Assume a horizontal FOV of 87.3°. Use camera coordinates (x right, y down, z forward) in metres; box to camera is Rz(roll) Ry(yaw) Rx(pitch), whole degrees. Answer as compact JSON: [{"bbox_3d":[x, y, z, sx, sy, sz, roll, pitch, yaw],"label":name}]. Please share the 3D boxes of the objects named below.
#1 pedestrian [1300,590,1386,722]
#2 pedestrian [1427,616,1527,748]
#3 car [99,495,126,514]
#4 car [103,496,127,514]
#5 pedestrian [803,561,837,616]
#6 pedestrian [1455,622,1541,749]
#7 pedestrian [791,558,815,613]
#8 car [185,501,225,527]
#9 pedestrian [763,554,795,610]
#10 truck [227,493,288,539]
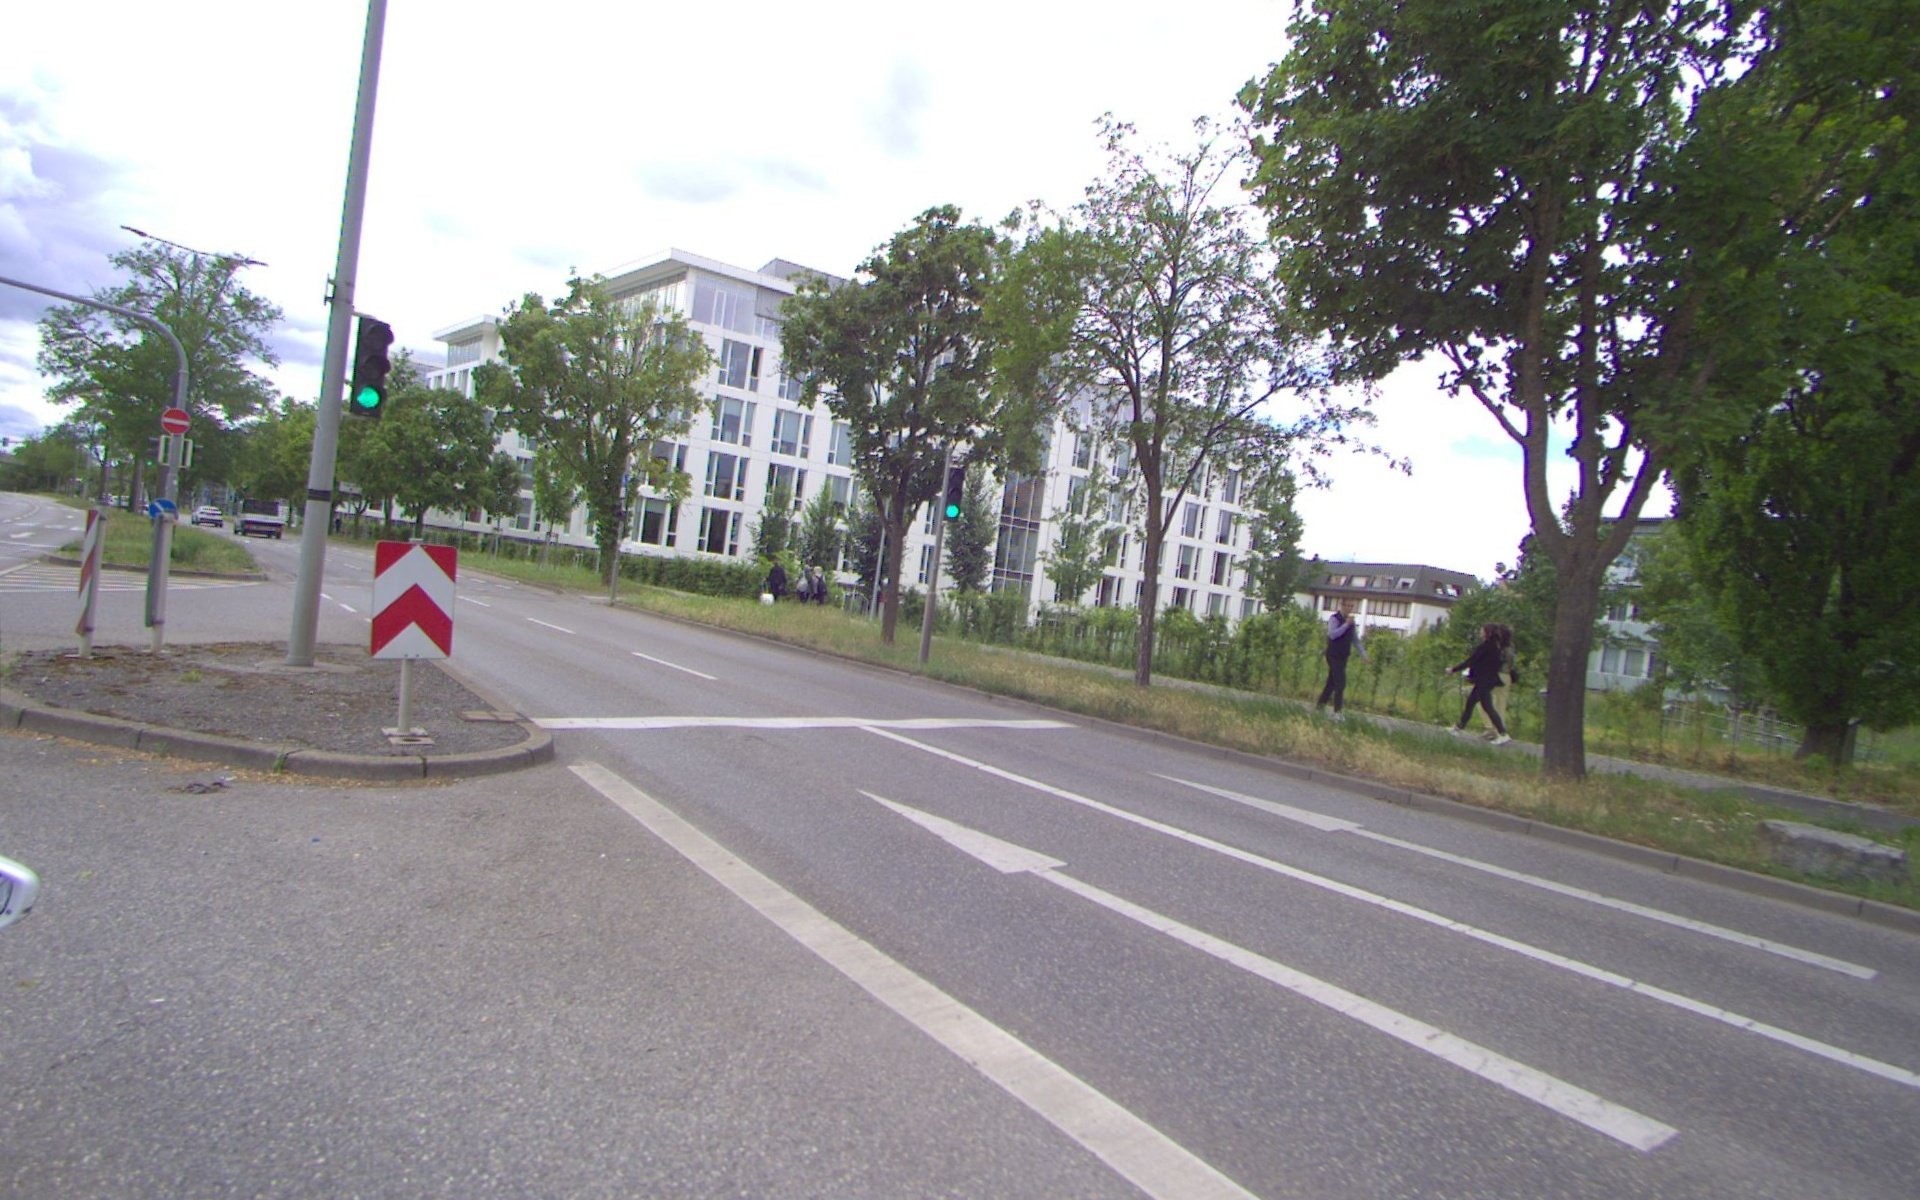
[{"bbox_3d":[5.607,0.803,14.732,0.663,1.818,0.745,8,-1,-28],"label":"pedestrian"},{"bbox_3d":[7.310,1.153,14.231,0.989,1.715,0.606,6,-1,41],"label":"pedestrian"},{"bbox_3d":[-91.248,-10.256,108.327,1.987,1.670,3.956,9,-2,-40],"label":"car"},{"bbox_3d":[-99.924,-11.224,118.967,1.987,1.670,3.956,9,-2,-40],"label":"car"},{"bbox_3d":[-4.464,-0.373,32.154,0.675,1.645,0.662,7,-1,16],"label":"pedestrian"},{"bbox_3d":[7.829,1.238,14.639,0.821,1.715,0.614,6,-1,41],"label":"pedestrian"},{"bbox_3d":[-4.928,-0.439,31.603,0.556,1.645,0.707,7,-1,-9],"label":"pedestrian"},{"bbox_3d":[-60.320,-6.869,80.336,3.836,1.693,1.867,6,-2,44],"label":"car"},{"bbox_3d":[-5.640,-0.547,31.379,0.721,1.645,1.034,7,-1,-7],"label":"pedestrian"},{"bbox_3d":[-44.400,-5.263,63.549,2.546,2.404,4.538,9,-2,-40],"label":"truck"}]
